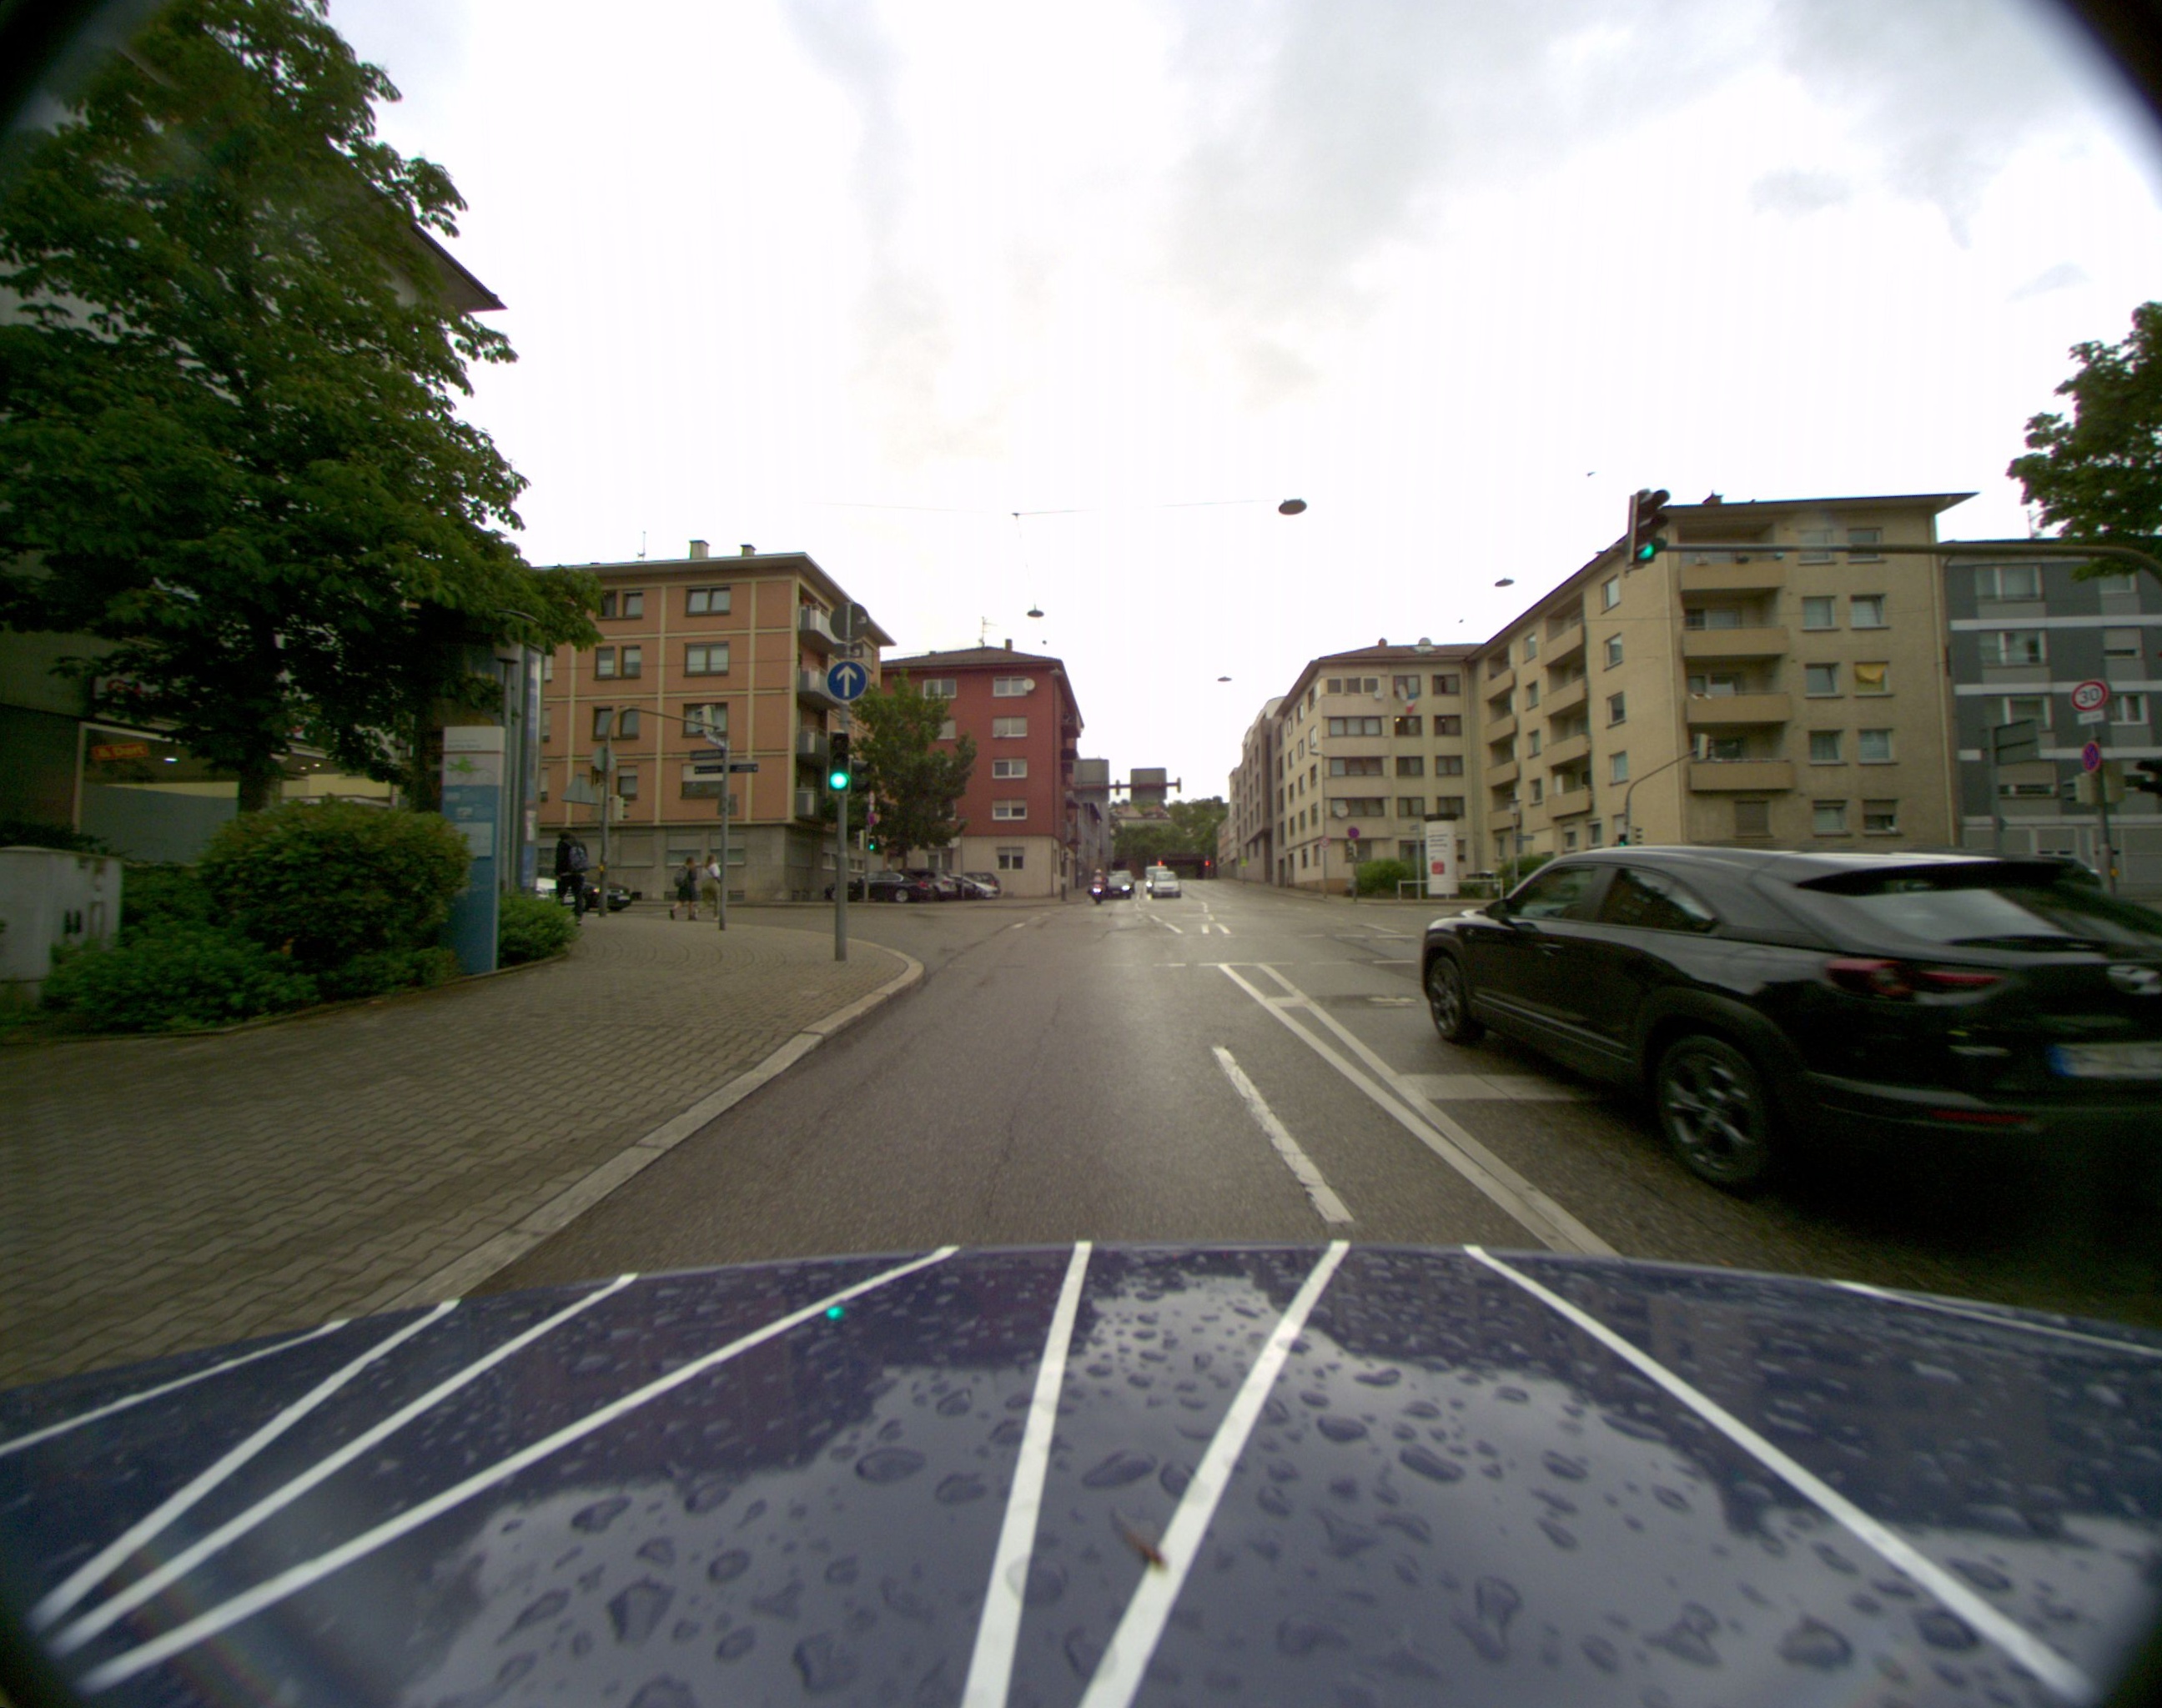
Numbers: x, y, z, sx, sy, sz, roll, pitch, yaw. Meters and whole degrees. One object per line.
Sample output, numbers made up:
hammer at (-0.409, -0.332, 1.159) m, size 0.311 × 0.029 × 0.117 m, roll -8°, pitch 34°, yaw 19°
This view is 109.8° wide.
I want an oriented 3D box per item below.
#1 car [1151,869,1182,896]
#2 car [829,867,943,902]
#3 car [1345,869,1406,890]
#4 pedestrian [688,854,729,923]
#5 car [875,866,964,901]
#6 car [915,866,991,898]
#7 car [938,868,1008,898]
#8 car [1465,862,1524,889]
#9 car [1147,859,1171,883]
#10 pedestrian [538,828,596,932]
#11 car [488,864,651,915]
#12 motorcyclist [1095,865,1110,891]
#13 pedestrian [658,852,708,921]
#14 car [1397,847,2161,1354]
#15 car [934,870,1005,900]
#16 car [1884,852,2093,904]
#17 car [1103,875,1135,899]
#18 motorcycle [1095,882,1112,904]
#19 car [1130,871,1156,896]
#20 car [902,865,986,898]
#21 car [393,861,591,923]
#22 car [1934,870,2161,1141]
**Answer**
car at (5.324, 1.775, 47.578) m, size 1.839 × 1.545 × 4.003 m, roll -1°, pitch -2°, yaw 6°
car at (-9.100, 1.397, 35.626) m, size 4.789 × 1.545 × 1.852 m, roll 0°, pitch -2°, yaw 7°
car at (18.563, 1.629, 47.976) m, size 3.259 × 1.185 × 1.383 m, roll -2°, pitch -3°, yaw 5°
pedestrian at (-9.143, 0.850, 18.659) m, size 0.760 × 1.636 × 0.708 m, roll 4°, pitch -5°, yaw -30°
car at (-8.155, 1.506, 38.515) m, size 3.995 × 1.650 × 1.994 m, roll -1°, pitch -2°, yaw 5°
car at (-7.430, 1.656, 44.052) m, size 3.991 × 1.687 × 1.804 m, roll -2°, pitch -4°, yaw 21°
car at (-6.958, 1.891, 49.165) m, size 3.992 × 1.694 × 2.004 m, roll -3°, pitch -4°, yaw 17°
car at (24.469, 1.269, 45.097) m, size 1.764 × 1.465 × 3.326 m, roll -2°, pitch -1°, yaw 3°
car at (6.912, 1.526, 67.335) m, size 1.941 × 1.903 × 4.860 m, roll -2°, pitch -3°, yaw 7°
pedestrian at (-9.271, 0.470, 13.708) m, size 0.756 × 1.806 × 0.915 m, roll 3°, pitch -2°, yaw -37°
car at (-16.101, 1.110, 24.037) m, size 3.995 × 1.480 × 1.851 m, roll -1°, pitch -1°, yaw 6°
motorcyclist at (1.037, 1.156, 36.690) m, size 0.654 × 1.216 × 0.658 m, roll -1°, pitch 0°, yaw -2°
pedestrian at (-9.856, 0.818, 18.854) m, size 0.709 × 1.636 × 0.760 m, roll 2°, pitch -4°, yaw 4°
car at (3.638, 0.751, 4.526) m, size 1.823 × 1.528 × 4.378 m, roll -1°, pitch 1°, yaw 2°
car at (-6.789, 1.910, 46.250) m, size 3.991 × 1.571 × 1.678 m, roll -4°, pitch -4°, yaw 23°
car at (27.457, 0.760, 23.102) m, size 4.068 × 1.471 × 1.734 m, roll -1°, pitch -3°, yaw 3°
car at (2.368, 2.057, 48.084) m, size 1.874 × 1.433 × 4.001 m, roll -2°, pitch -1°, yaw 1°
motorcycle at (1.075, 1.872, 36.615) m, size 0.637 × 0.921 × 2.364 m, roll -2°, pitch 0°, yaw -2°
car at (4.720, 2.255, 58.005) m, size 1.793 × 1.716 × 4.004 m, roll -2°, pitch -4°, yaw 4°
car at (-7.424, 1.499, 41.330) m, size 3.992 × 1.709 × 1.996 m, roll -2°, pitch -1°, yaw 17°
car at (-15.649, 1.000, 20.309) m, size 3.995 × 1.503 × 1.851 m, roll -1°, pitch -1°, yaw 6°
car at (6.775, 0.798, 3.063) m, size 1.823 × 1.468 × 4.380 m, roll -1°, pitch -1°, yaw 2°
